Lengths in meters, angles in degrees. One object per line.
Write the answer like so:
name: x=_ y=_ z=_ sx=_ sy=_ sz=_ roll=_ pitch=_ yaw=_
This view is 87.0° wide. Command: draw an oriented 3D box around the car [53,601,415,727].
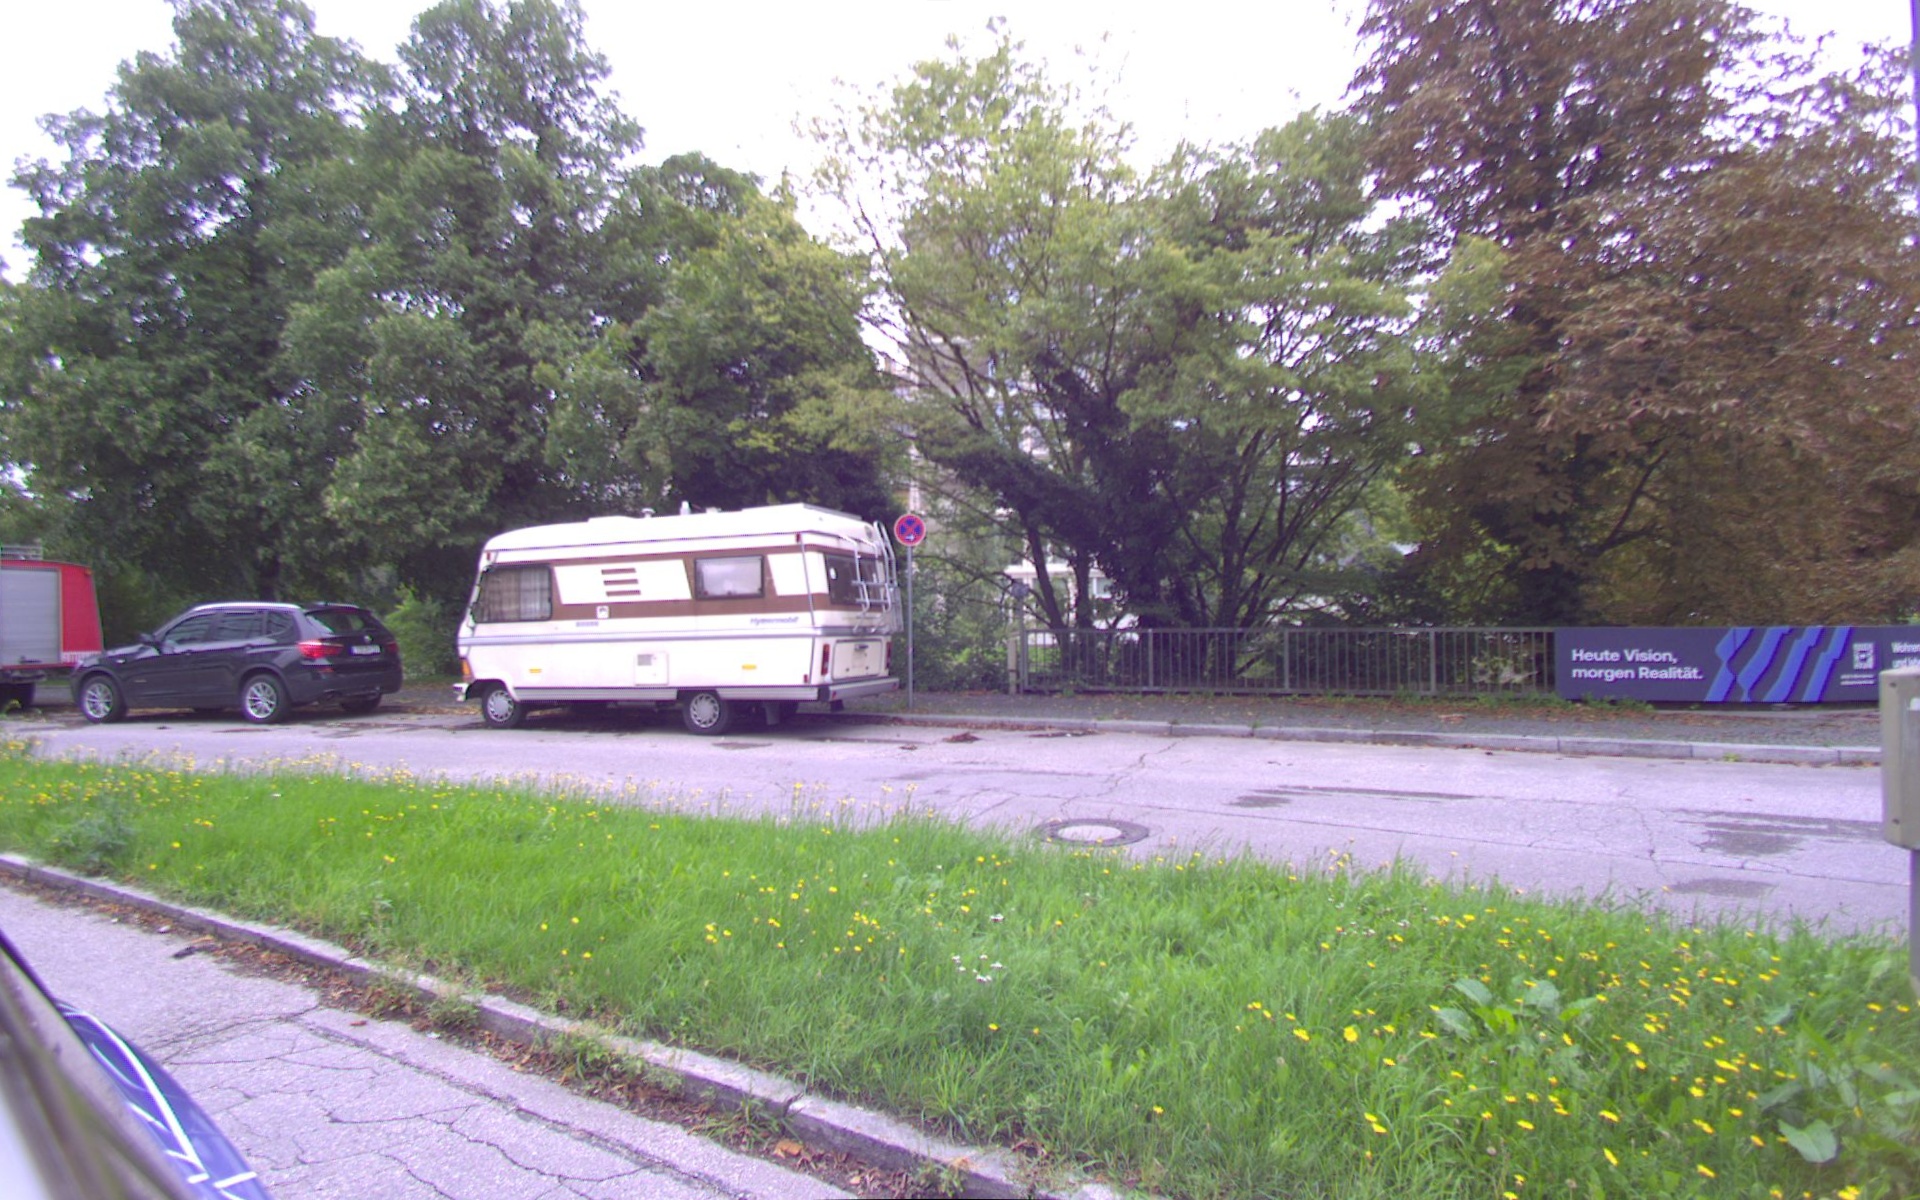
car: x=-10.492 y=0.904 z=14.731 sx=4.413 sy=1.662 sz=1.775 roll=-1 pitch=-2 yaw=12

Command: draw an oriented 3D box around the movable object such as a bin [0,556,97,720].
movable object such as a bin: x=-17.330 y=0.626 z=16.262 sx=6.126 sy=2.477 sz=2.102 roll=-1 pitch=-2 yaw=14

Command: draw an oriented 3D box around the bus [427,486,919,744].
bus: x=-3.581 y=0.233 z=12.745 sx=5.690 sy=2.719 sz=2.308 roll=-1 pitch=-2 yaw=20
